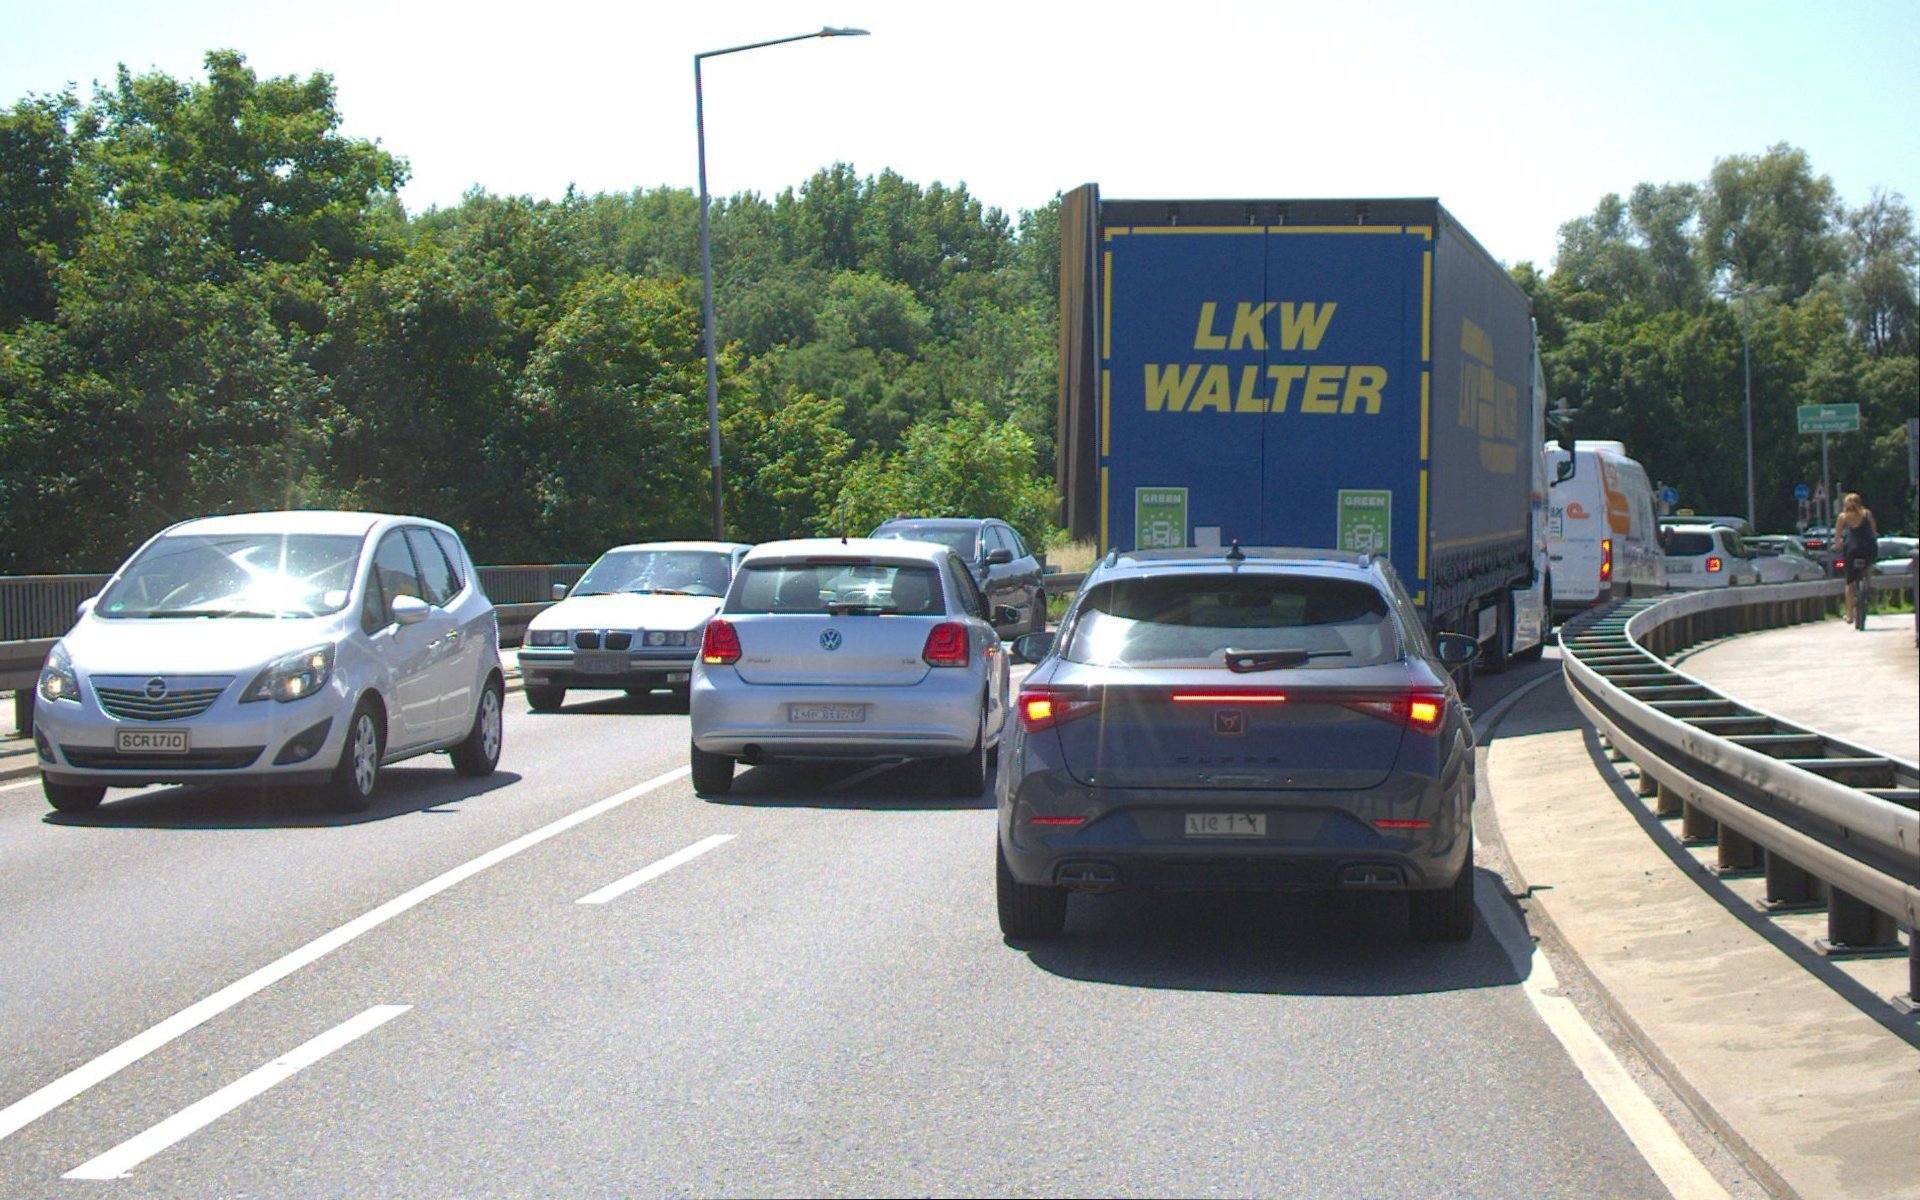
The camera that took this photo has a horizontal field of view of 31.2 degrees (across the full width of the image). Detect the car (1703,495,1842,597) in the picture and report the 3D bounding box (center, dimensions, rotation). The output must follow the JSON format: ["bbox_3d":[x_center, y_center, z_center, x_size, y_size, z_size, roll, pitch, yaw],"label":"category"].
[{"bbox_3d":[14.991,-1.019,63.319,1.723,1.796,3.995,1,2,25],"label":"car"}]

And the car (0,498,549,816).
[{"bbox_3d":[-3.728,0.251,19.350,1.737,1.574,4.175,-1,1,9],"label":"car"}]

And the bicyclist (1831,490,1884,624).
[{"bbox_3d":[11.541,-0.557,44.183,0.578,1.677,0.729,-2,1,16],"label":"bicyclist"}]

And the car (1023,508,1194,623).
[{"bbox_3d":[2.243,-0.539,51.010,1.708,1.620,4.250,1,1,14],"label":"car"}]

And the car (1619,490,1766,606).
[{"bbox_3d":[12.161,-0.891,56.934,1.723,1.837,3.996,1,2,22],"label":"car"}]

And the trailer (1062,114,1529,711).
[{"bbox_3d":[3.491,-1.557,31.767,2.906,4.403,12.427,1,2,12],"label":"trailer"}]

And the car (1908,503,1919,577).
[{"bbox_3d":[24.250,-1.420,82.892,1.688,1.754,3.993,1,1,30],"label":"car"}]

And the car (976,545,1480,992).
[{"bbox_3d":[1.112,0.529,13.488,1.677,1.451,3.958,0,1,6],"label":"car"}]

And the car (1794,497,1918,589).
[{"bbox_3d":[18.488,-1.201,70.826,1.723,1.837,3.995,1,2,26],"label":"car"}]

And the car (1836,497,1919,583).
[{"bbox_3d":[20.754,-1.358,76.402,1.723,1.837,3.995,1,2,26],"label":"car"}]

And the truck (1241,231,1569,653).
[{"bbox_3d":[5.237,-1.753,39.442,2.906,4.403,6.551,1,2,14],"label":"truck"}]

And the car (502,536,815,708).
[{"bbox_3d":[-2.504,0.140,29.479,1.697,1.371,3.999,0,1,10],"label":"car"}]

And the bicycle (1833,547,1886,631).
[{"bbox_3d":[11.575,-0.154,44.213,0.582,1.032,1.484,-2,0,16],"label":"bicycle"}]

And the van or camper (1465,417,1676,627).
[{"bbox_3d":[8.838,-1.133,49.281,2.156,2.806,6.382,1,2,17],"label":"van or camper"}]

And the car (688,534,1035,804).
[{"bbox_3d":[-0.499,0.336,20.700,1.677,1.406,3.975,1,2,4],"label":"car"}]

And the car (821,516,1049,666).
[{"bbox_3d":[-0.223,-0.151,39.651,1.802,1.635,4.299,0,1,11],"label":"car"}]
